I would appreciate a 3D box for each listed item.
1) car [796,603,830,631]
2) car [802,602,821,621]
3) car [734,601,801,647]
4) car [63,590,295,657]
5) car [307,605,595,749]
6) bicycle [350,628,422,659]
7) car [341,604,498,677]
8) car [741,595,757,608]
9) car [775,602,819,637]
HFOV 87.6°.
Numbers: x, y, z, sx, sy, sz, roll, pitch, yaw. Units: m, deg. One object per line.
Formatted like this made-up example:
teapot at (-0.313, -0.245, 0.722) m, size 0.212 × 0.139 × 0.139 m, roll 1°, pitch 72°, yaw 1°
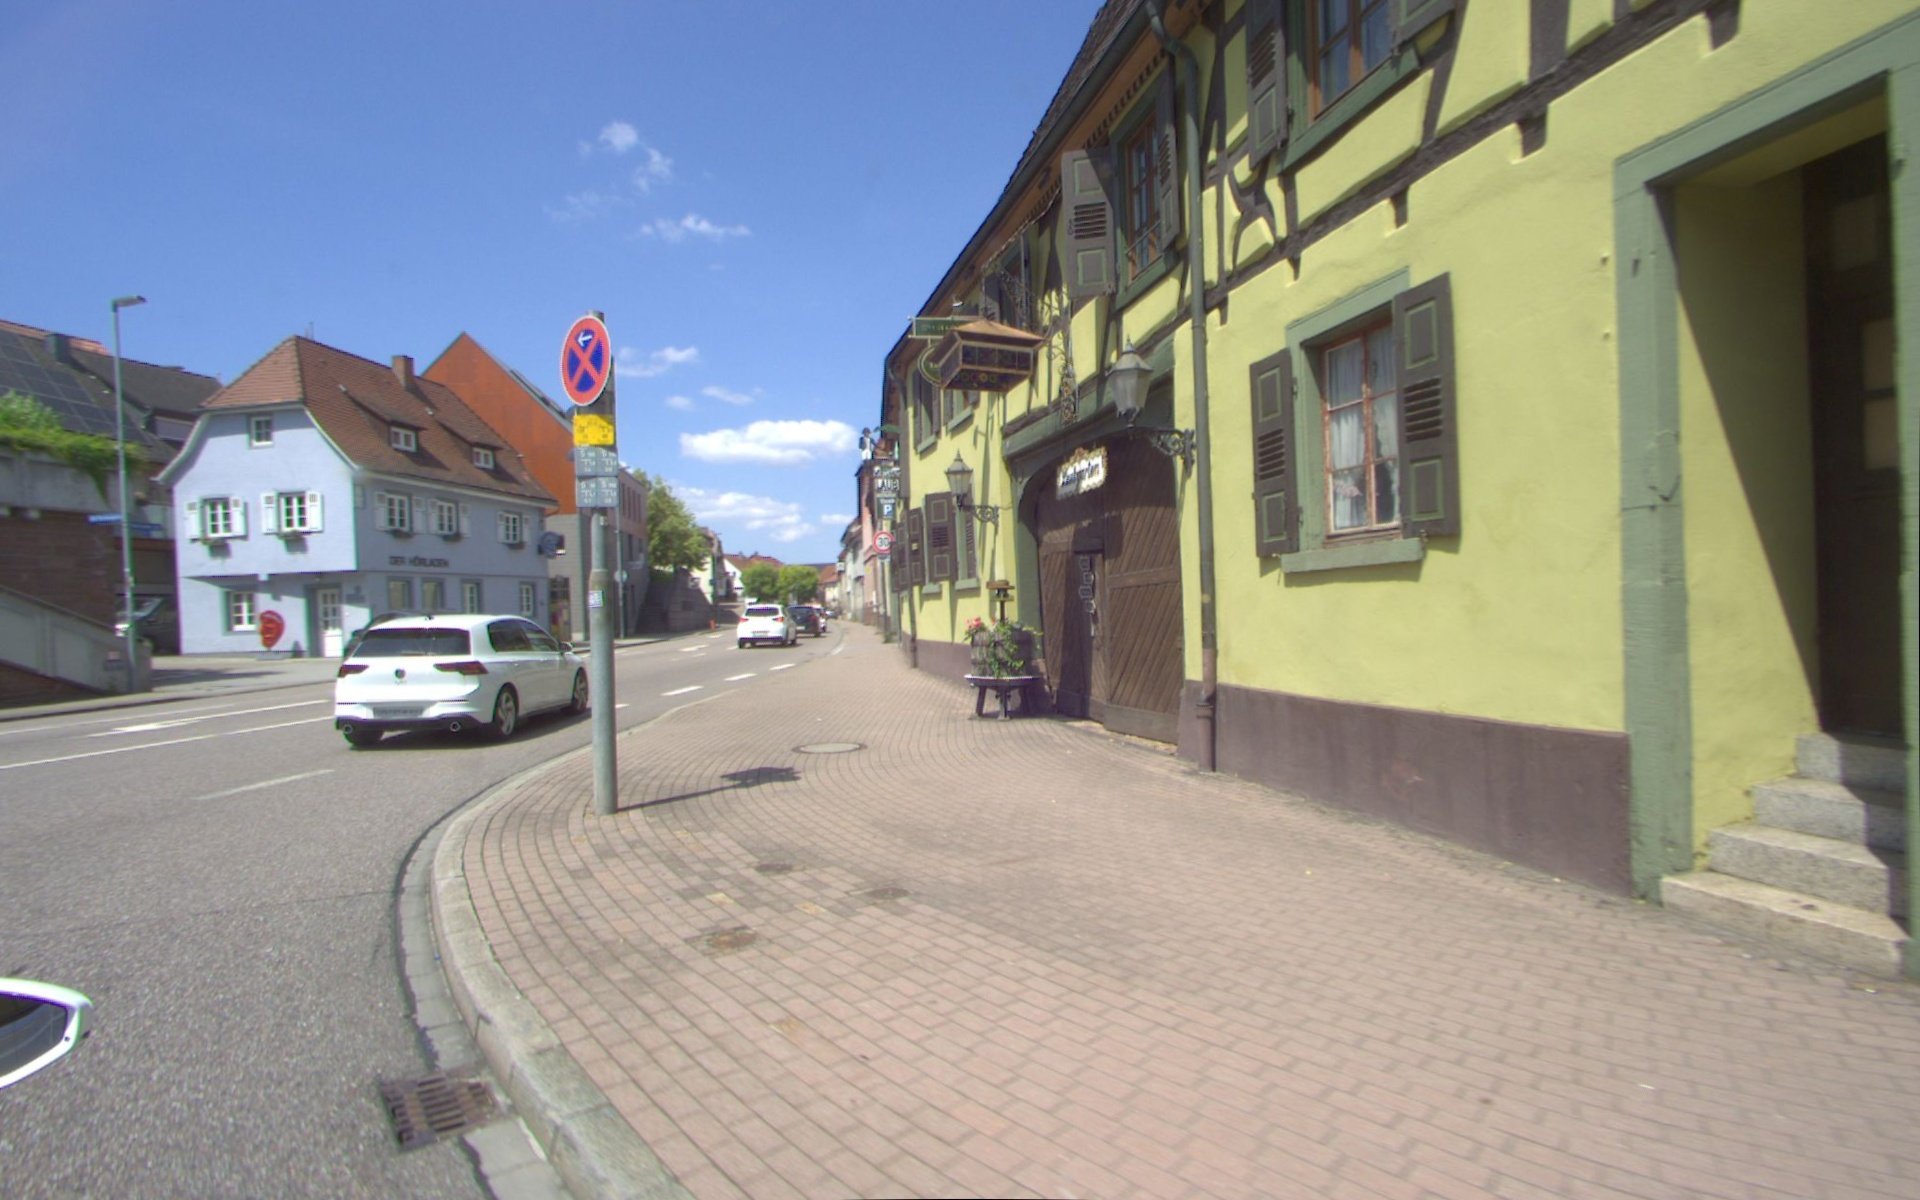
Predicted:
car at (-8.216, 0.943, 56.069) m, size 1.754 × 1.477 × 3.861 m, roll -1°, pitch -1°, yaw -8°
car at (-14.940, 1.168, 100.947) m, size 1.754 × 1.864 × 3.861 m, roll -1°, pitch 0°, yaw -8°
car at (-6.716, 0.828, 35.342) m, size 1.754 × 1.477 × 3.863 m, roll -1°, pitch -1°, yaw -3°
car at (-26.931, 0.764, 34.901) m, size 2.480 × 2.040 × 5.985 m, roll -3°, pitch -1°, yaw 18°
car at (-6.112, 0.841, 12.583) m, size 1.754 × 1.477 × 3.863 m, roll -1°, pitch -1°, yaw -3°
bicycle at (-17.642, 1.333, 30.814) m, size 0.642 × 0.911 × 1.807 m, roll 0°, pitch -1°, yaw 43°
car at (-13.035, 0.924, 24.053) m, size 4.275 × 1.603 × 1.940 m, roll -1°, pitch -1°, yaw 40°
car at (-29.422, 0.184, 139.836) m, size 1.962 × 1.739 × 3.998 m, roll 0°, pitch -1°, yaw -9°
car at (-7.340, 0.871, 45.297) m, size 1.754 × 1.477 × 3.862 m, roll -1°, pitch -1°, yaw -7°
